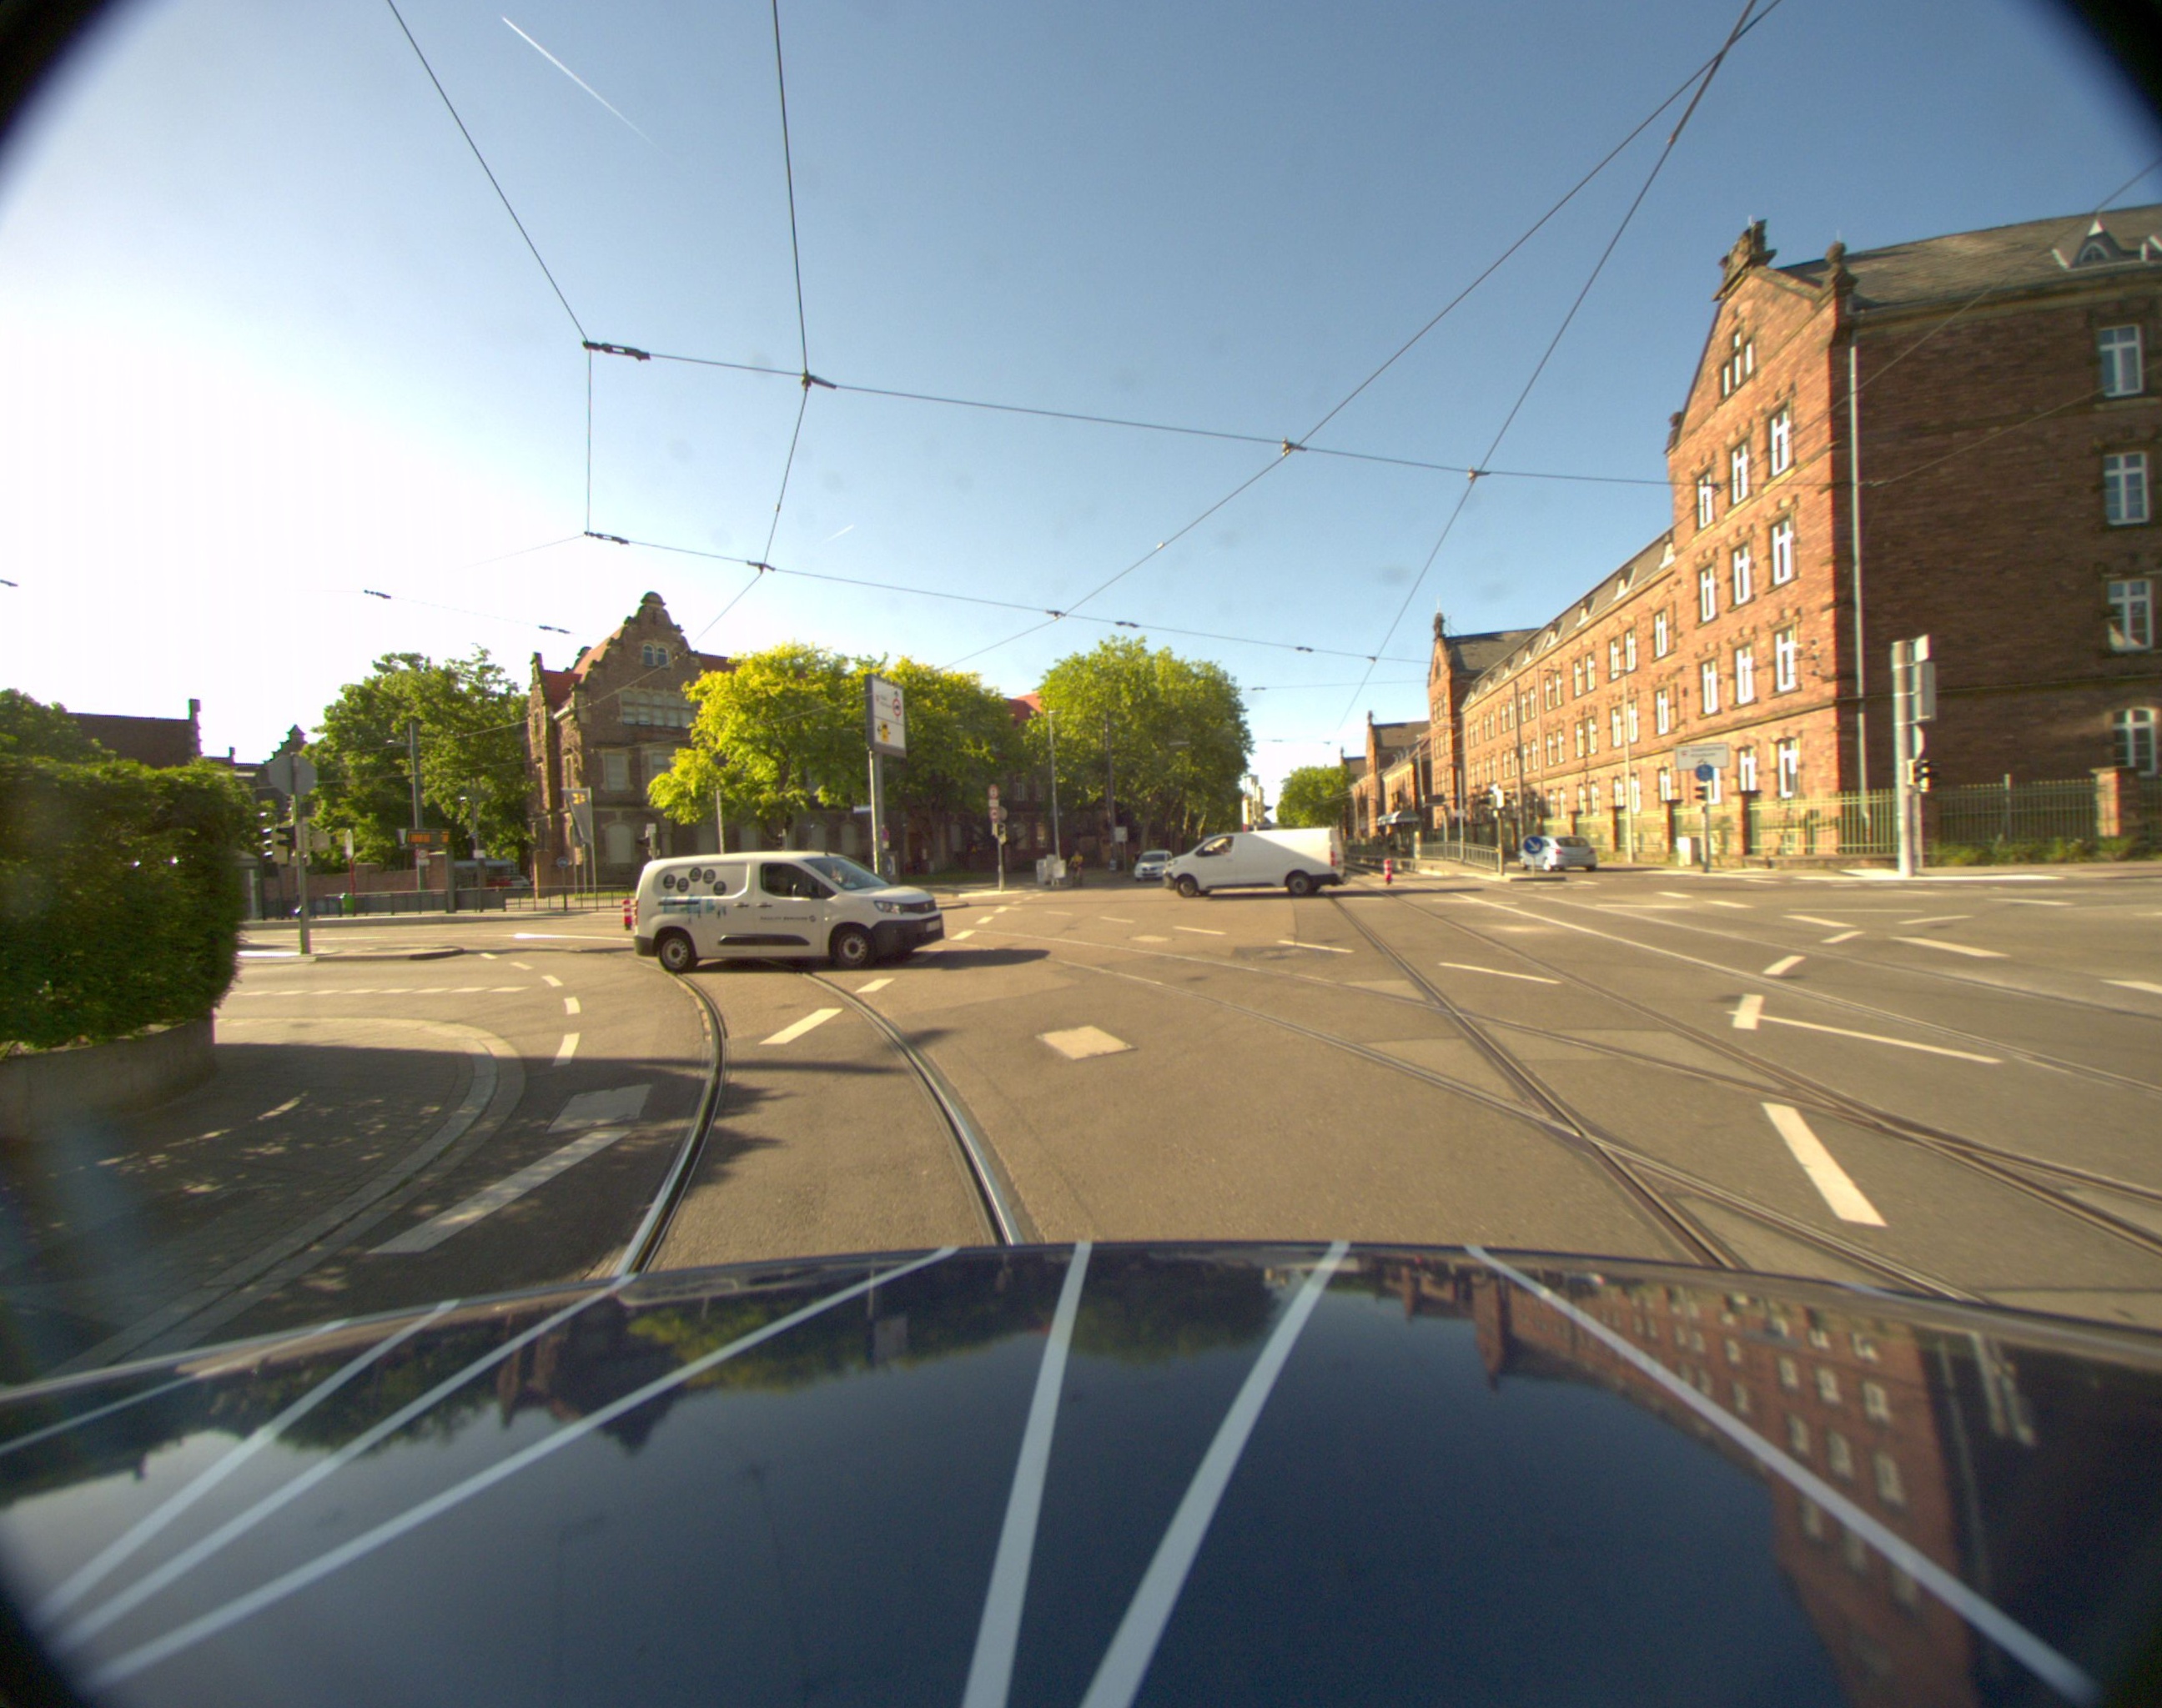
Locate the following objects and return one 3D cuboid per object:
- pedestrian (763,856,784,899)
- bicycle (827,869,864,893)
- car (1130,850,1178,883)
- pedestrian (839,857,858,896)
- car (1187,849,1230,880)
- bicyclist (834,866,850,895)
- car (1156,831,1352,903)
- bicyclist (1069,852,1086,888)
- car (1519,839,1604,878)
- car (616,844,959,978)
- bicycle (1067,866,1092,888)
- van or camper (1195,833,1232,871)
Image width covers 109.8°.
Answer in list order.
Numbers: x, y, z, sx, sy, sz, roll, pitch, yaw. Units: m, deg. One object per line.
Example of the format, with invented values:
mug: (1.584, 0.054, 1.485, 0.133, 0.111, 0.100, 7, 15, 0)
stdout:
pedestrian: (-14.351, 1.077, 35.473, 0.698, 1.943, 0.486, -2, 1, -7)
bicycle: (-10.978, 1.255, 35.426, 1.594, 0.991, 0.478, -3, 1, -16)
car: (4.076, 0.647, 41.630, 1.909, 1.608, 4.576, -3, -1, 14)
pedestrian: (-10.511, 1.015, 34.344, 0.670, 1.737, 0.486, -2, 1, -7)
car: (7.178, 0.558, 42.419, 1.982, 1.539, 4.039, -2, 0, 15)
bicyclist: (-11.134, 1.227, 35.394, 0.619, 1.277, 0.478, -3, 1, -15)
car: (5.138, 0.415, 22.678, 5.289, 1.918, 2.169, -2, 0, 26)
bicyclist: (-0.151, 0.773, 36.841, 0.669, 1.718, 0.623, -2, -1, 13)
car: (19.368, 0.151, 30.805, 1.739, 1.434, 4.119, -2, 0, 15)
car: (-4.523, 0.863, 11.980, 4.689, 1.789, 1.859, -2, 3, 13)
bicycle: (-0.065, 1.129, 37.149, 0.689, 1.027, 2.102, -2, -2, 14)
van or camper: (9.000, -0.102, 51.248, 1.996, 2.346, 5.605, -2, -1, 14)
